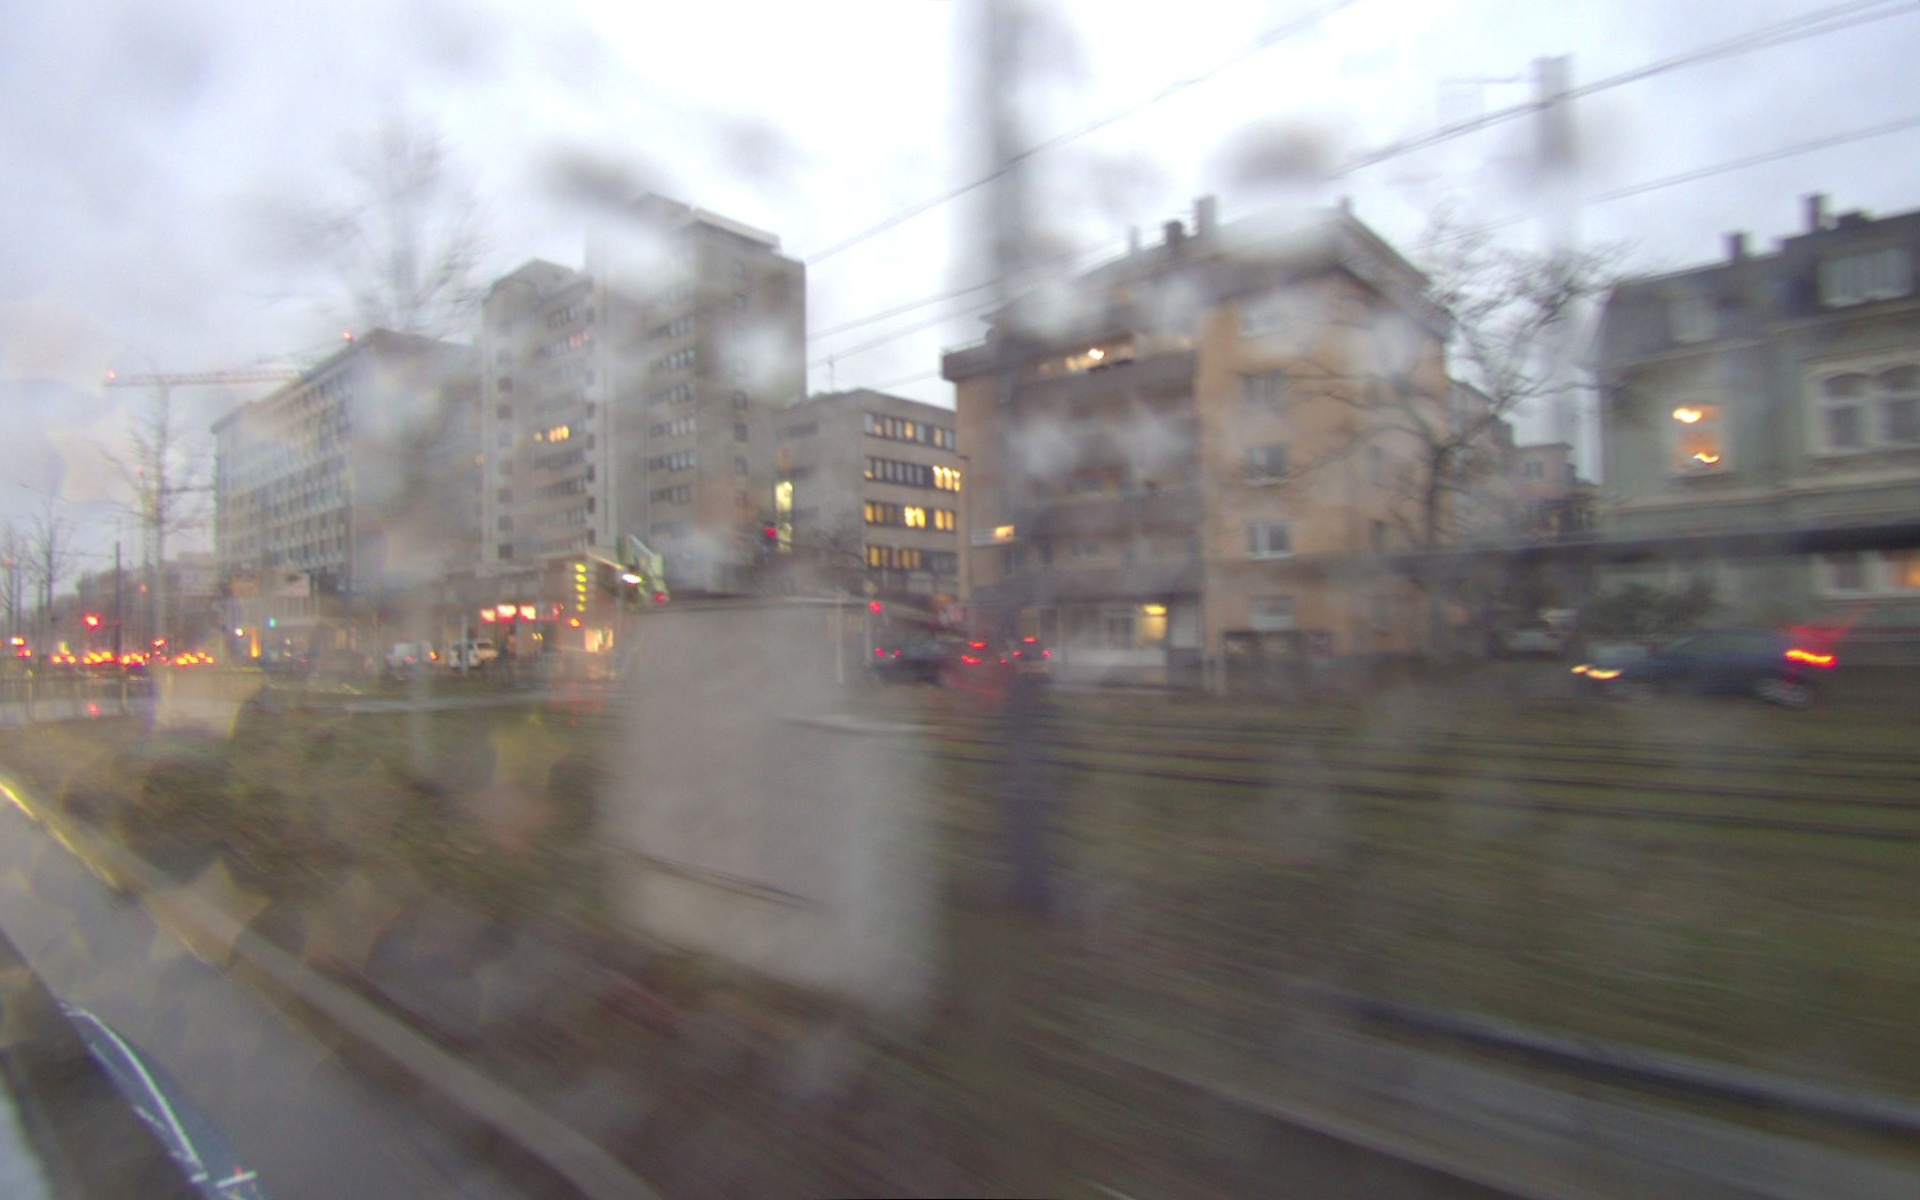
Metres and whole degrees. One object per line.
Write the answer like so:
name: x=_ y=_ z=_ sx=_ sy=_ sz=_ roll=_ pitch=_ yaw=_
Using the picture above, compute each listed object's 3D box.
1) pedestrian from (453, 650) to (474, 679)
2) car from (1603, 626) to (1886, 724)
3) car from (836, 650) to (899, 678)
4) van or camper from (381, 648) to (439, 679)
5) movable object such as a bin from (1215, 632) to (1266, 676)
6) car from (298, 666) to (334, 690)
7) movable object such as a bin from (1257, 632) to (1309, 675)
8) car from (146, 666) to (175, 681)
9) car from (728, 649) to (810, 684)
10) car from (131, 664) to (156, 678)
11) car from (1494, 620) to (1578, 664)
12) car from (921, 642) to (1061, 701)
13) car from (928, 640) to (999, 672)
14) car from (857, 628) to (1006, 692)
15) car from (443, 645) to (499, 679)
pedestrian: x=-26.586 y=3.468 z=54.166 sx=0.629 sy=1.501 sz=0.783 roll=-3 pitch=-3 yaw=34
car: x=15.141 y=1.425 z=19.744 sx=4.107 sy=1.705 sz=1.973 roll=-4 pitch=-4 yaw=40
car: x=-5.698 y=3.958 z=62.359 sx=3.627 sy=1.613 sz=1.605 roll=-3 pitch=-2 yaw=31
van or camper: x=-40.491 y=4.663 z=74.438 sx=5.653 sy=2.113 sz=1.972 roll=-4 pitch=-3 yaw=42
movable object such as a bin: x=10.259 y=1.961 z=37.039 sx=1.423 sy=1.573 sz=1.096 roll=-4 pitch=-4 yaw=39
car: x=-47.891 y=5.799 z=75.292 sx=1.966 sy=1.557 sz=4.718 roll=0 pitch=-2 yaw=-29
movable object such as a bin: x=11.499 y=1.918 z=35.995 sx=1.423 sy=1.492 sz=1.096 roll=-4 pitch=-4 yaw=39
car: x=-84.381 y=7.739 z=106.769 sx=3.871 sy=1.460 sz=1.731 roll=-3 pitch=-2 yaw=41
car: x=-9.792 y=3.395 z=52.140 sx=1.684 sy=1.523 sz=3.946 roll=-3 pitch=-1 yaw=41
car: x=-94.057 y=8.139 z=116.537 sx=3.871 sy=1.460 sz=1.575 roll=-3 pitch=-2 yaw=41
car: x=20.270 y=1.435 z=35.549 sx=1.832 sy=1.417 sz=3.946 roll=-3 pitch=-2 yaw=40
car: x=0.891 y=2.123 z=30.784 sx=3.998 sy=1.597 sz=1.782 roll=-3 pitch=-1 yaw=41
car: x=0.223 y=2.964 z=53.934 sx=1.777 sy=1.564 sz=3.786 roll=-3 pitch=-3 yaw=40
car: x=-0.843 y=1.650 z=28.314 sx=3.998 sy=1.597 sz=1.782 roll=-3 pitch=-1 yaw=41
car: x=-33.385 y=4.203 z=69.205 sx=1.969 sy=2.029 sz=4.578 roll=-2 pitch=0 yaw=-5
